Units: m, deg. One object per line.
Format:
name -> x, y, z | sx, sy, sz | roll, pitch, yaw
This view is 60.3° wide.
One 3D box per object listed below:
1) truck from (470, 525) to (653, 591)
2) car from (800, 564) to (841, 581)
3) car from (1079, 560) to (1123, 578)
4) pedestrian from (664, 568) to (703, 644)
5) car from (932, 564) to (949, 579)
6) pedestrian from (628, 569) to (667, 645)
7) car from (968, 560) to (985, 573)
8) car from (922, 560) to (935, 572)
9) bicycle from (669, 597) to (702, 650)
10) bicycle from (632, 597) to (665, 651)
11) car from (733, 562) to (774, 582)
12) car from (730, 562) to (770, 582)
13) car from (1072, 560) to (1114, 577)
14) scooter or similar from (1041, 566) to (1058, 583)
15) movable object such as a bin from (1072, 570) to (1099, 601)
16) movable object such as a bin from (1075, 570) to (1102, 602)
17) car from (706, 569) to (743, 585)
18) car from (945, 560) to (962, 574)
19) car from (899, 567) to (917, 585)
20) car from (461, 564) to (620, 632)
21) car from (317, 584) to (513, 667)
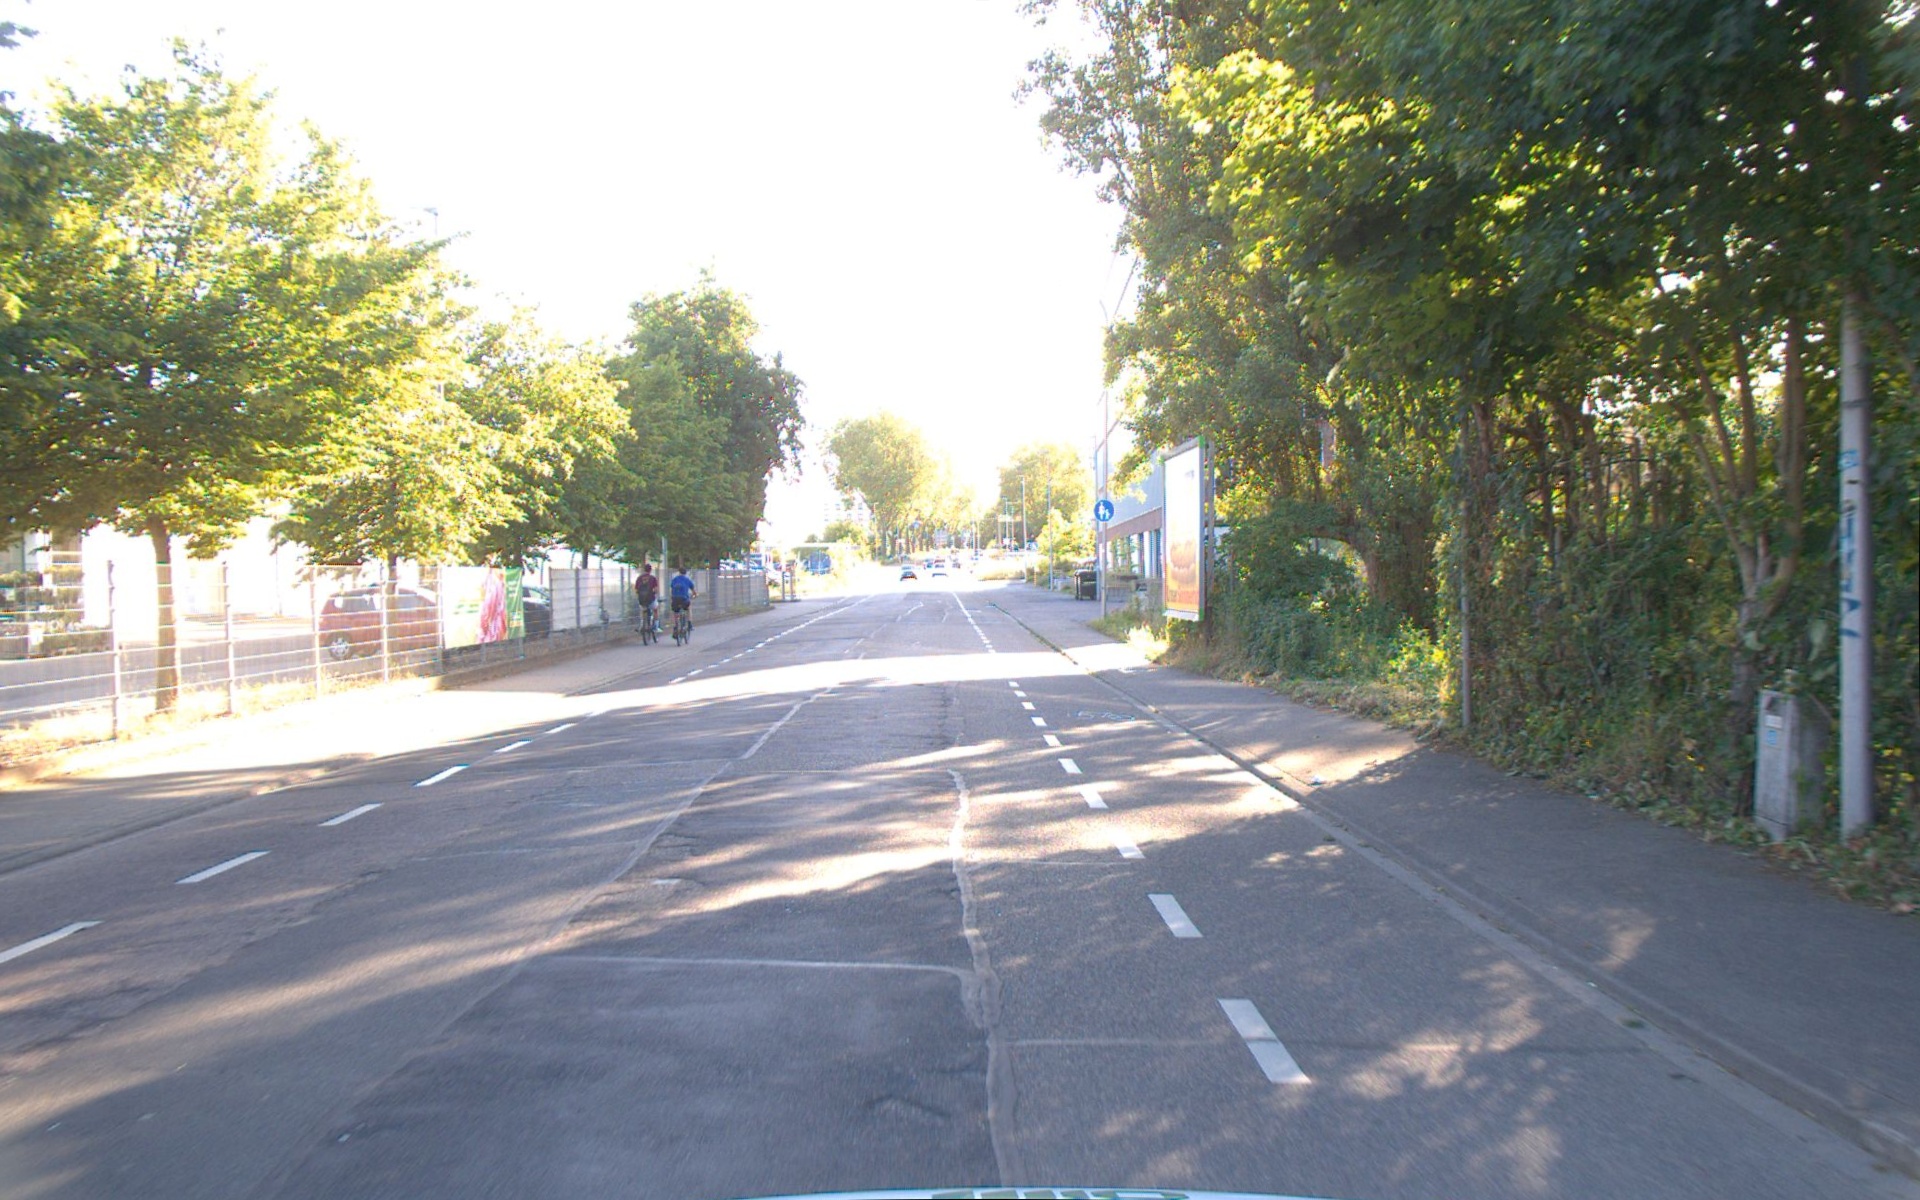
truck -> -23.042, -2.420, 95.974 | 9.894, 3.677, 2.775 | -1, 1, -2
car -> -16.783, -3.303, 198.502 | 4.747, 1.866, 2.000 | -1, 1, -2
car -> 13.473, -2.978, 158.673 | 4.097, 1.608, 1.852 | -1, 1, 3
pedestrian -> -6.522, 0.138, 39.108 | 0.706, 1.750, 1.057 | -1, 2, -1
car -> -2.091, -3.074, 178.282 | 1.753, 1.444, 4.001 | 0, 2, 1
pedestrian -> -7.376, 0.150, 39.077 | 0.706, 1.750, 1.057 | -1, 2, -1
car -> 2.176, -4.528, 221.809 | 2.119, 1.713, 4.000 | -1, 1, -1
car -> -4.165, -4.503, 220.596 | 1.620, 1.529, 4.000 | -2, 1, 0
bicycle -> -6.490, 0.537, 39.166 | 0.437, 1.168, 2.201 | 0, 2, -1
bicycle -> -7.341, 0.551, 39.041 | 0.460, 1.168, 1.869 | 0, 2, -1
car -> -26.679, -3.630, 214.272 | 4.993, 2.502, 2.319 | -1, 1, -2
car -> -26.885, -3.566, 211.600 | 4.827, 2.502, 2.319 | -1, 1, -2
car -> 13.265, -3.126, 165.644 | 4.097, 1.608, 1.852 | -1, 1, 3
scooter or similar -> 6.998, -2.003, 129.737 | 1.312, 1.267, 0.424 | -1, 1, 3
movable object such as a bin -> 5.850, -0.677, 77.342 | 1.105, 1.359, 1.345 | -1, 2, -2
movable object such as a bin -> 5.877, -0.644, 75.703 | 1.105, 1.395, 1.345 | -1, 2, -2
car -> -26.446, -2.567, 185.830 | 3.804, 1.631, 1.878 | -1, 1, -2
car -> -0.886, -4.281, 216.159 | 2.119, 1.713, 4.001 | -1, 1, 1
car -> -5.153, -2.386, 163.350 | 1.706, 1.552, 4.110 | -5, 2, -2
car -> -11.361, -0.076, 44.983 | 3.813, 1.537, 1.785 | -4, 2, -4
car -> -11.973, 0.545, 36.524 | 3.652, 1.476, 1.805 | -4, 2, -3
